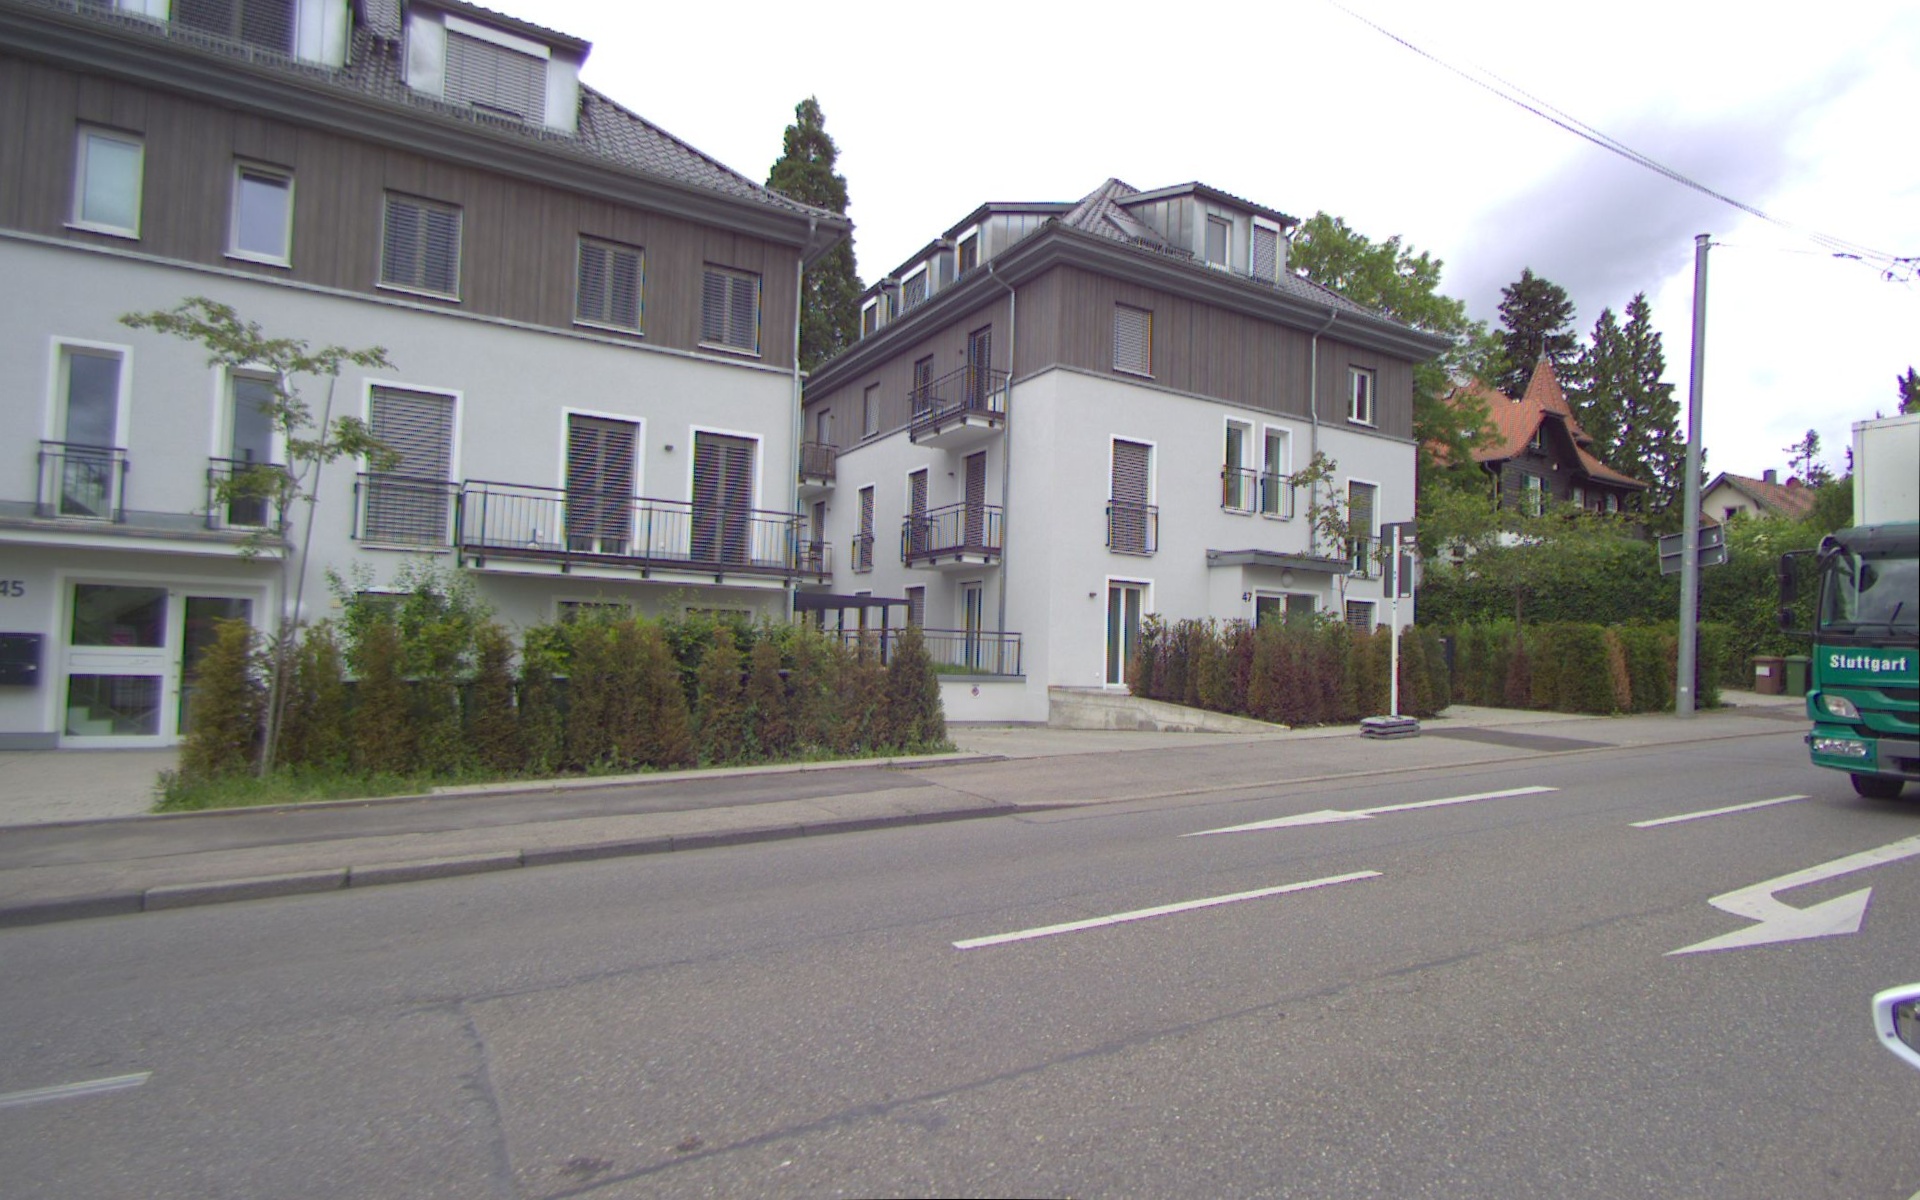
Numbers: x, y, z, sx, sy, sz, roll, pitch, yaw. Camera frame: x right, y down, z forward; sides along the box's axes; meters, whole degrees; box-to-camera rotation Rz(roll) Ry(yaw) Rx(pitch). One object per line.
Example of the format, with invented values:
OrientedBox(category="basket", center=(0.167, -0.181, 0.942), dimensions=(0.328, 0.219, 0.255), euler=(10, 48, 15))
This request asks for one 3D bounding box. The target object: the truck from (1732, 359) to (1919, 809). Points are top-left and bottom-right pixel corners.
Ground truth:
OrientedBox(category="truck", center=(10.720, 0.013, 9.618), dimensions=(7.408, 3.506, 2.764), euler=(3, -3, -31))
